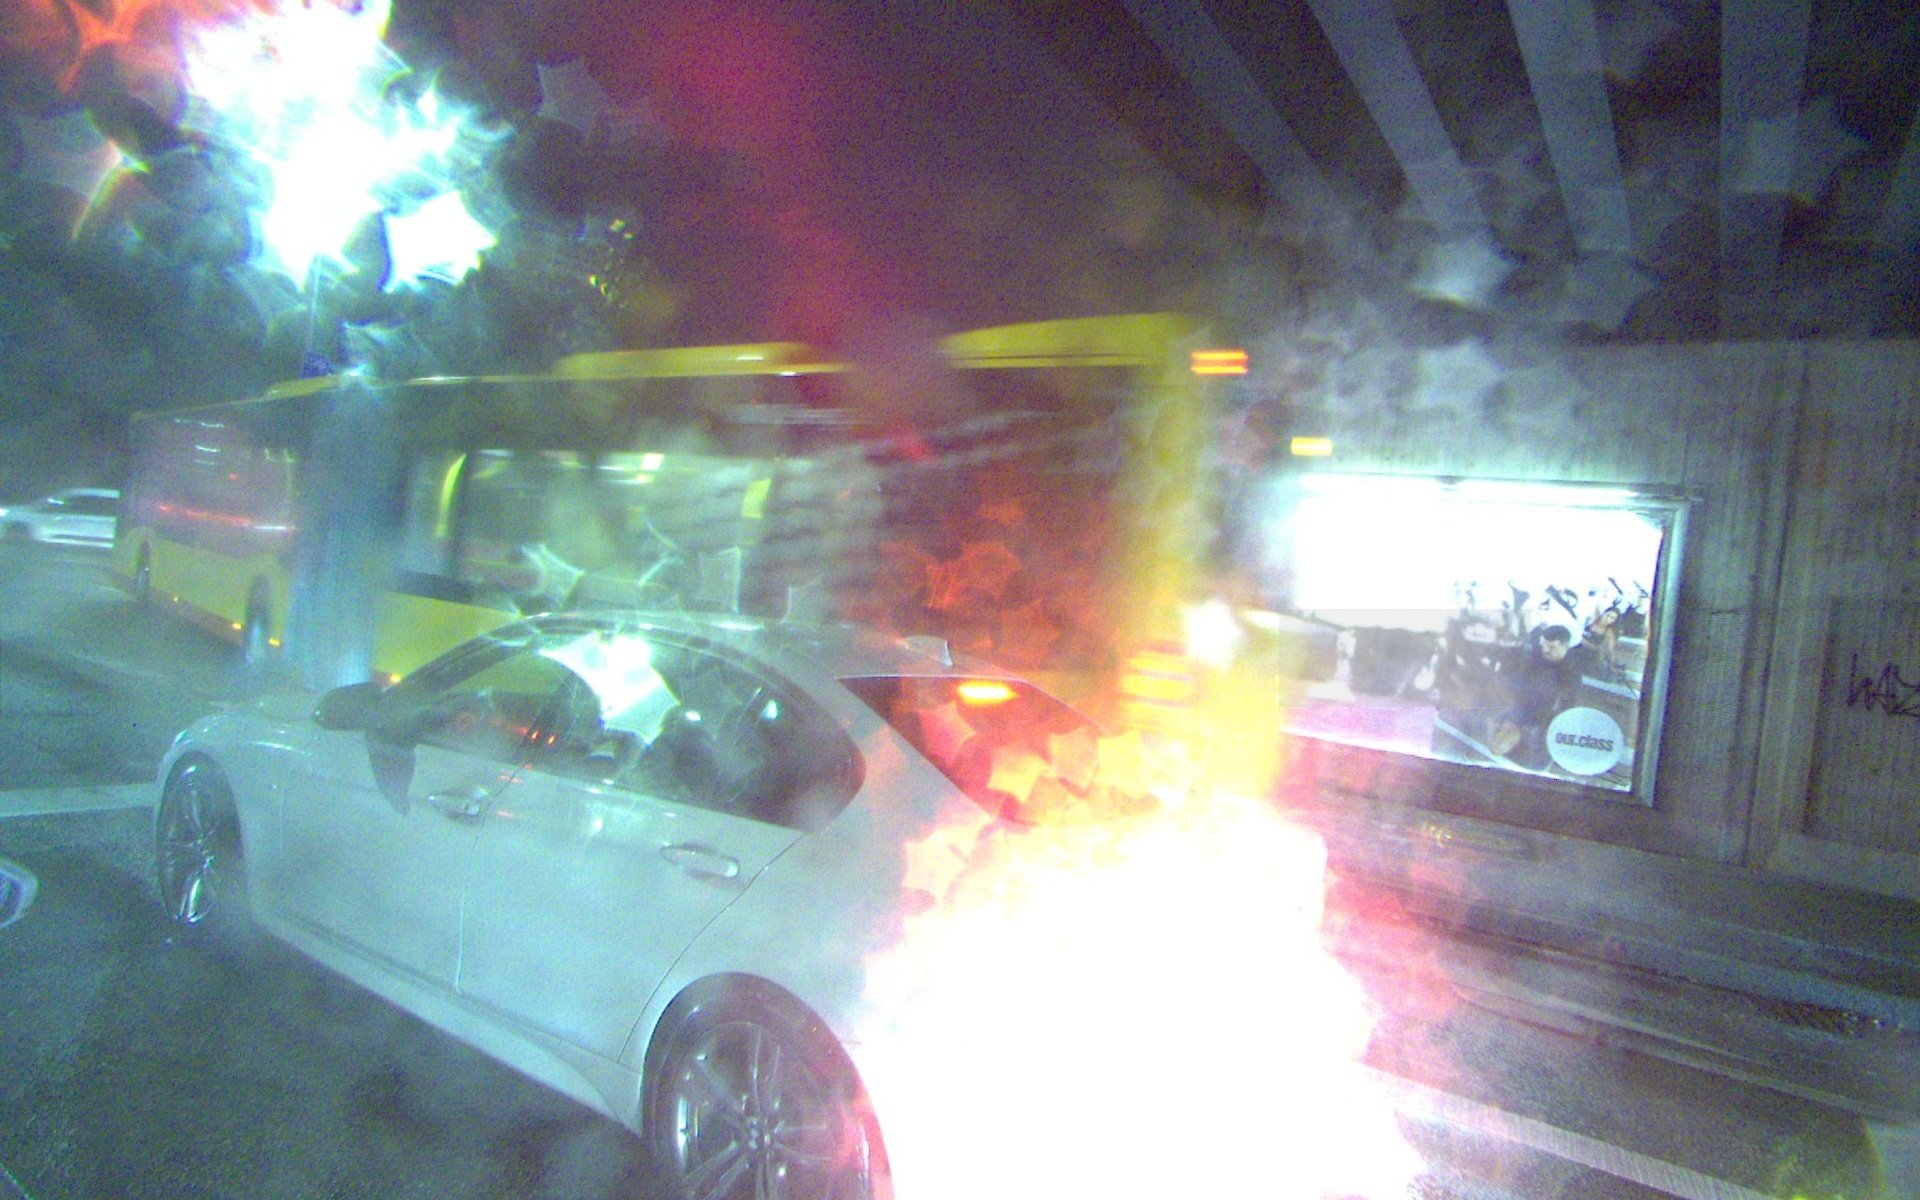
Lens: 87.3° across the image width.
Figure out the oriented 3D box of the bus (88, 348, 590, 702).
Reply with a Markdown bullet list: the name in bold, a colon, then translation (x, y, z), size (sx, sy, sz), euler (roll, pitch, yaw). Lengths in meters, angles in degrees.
- **bus**: translation (-8.844, -0.993, 13.462), size (9.625, 3.160, 2.767), euler (7, -2, 41)

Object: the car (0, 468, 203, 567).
- **car**: translation (-23.269, -2.175, 26.968), size (4.591, 1.896, 1.779), euler (9, -2, -37)

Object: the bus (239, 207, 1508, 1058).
- **bus**: translation (-1.617, -0.216, 7.558), size (9.605, 3.160, 2.772), euler (7, -1, 34)

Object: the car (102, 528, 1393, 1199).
- **car**: translation (-0.985, 0.707, 3.504), size (4.277, 1.420, 1.720), euler (6, -2, 32)
